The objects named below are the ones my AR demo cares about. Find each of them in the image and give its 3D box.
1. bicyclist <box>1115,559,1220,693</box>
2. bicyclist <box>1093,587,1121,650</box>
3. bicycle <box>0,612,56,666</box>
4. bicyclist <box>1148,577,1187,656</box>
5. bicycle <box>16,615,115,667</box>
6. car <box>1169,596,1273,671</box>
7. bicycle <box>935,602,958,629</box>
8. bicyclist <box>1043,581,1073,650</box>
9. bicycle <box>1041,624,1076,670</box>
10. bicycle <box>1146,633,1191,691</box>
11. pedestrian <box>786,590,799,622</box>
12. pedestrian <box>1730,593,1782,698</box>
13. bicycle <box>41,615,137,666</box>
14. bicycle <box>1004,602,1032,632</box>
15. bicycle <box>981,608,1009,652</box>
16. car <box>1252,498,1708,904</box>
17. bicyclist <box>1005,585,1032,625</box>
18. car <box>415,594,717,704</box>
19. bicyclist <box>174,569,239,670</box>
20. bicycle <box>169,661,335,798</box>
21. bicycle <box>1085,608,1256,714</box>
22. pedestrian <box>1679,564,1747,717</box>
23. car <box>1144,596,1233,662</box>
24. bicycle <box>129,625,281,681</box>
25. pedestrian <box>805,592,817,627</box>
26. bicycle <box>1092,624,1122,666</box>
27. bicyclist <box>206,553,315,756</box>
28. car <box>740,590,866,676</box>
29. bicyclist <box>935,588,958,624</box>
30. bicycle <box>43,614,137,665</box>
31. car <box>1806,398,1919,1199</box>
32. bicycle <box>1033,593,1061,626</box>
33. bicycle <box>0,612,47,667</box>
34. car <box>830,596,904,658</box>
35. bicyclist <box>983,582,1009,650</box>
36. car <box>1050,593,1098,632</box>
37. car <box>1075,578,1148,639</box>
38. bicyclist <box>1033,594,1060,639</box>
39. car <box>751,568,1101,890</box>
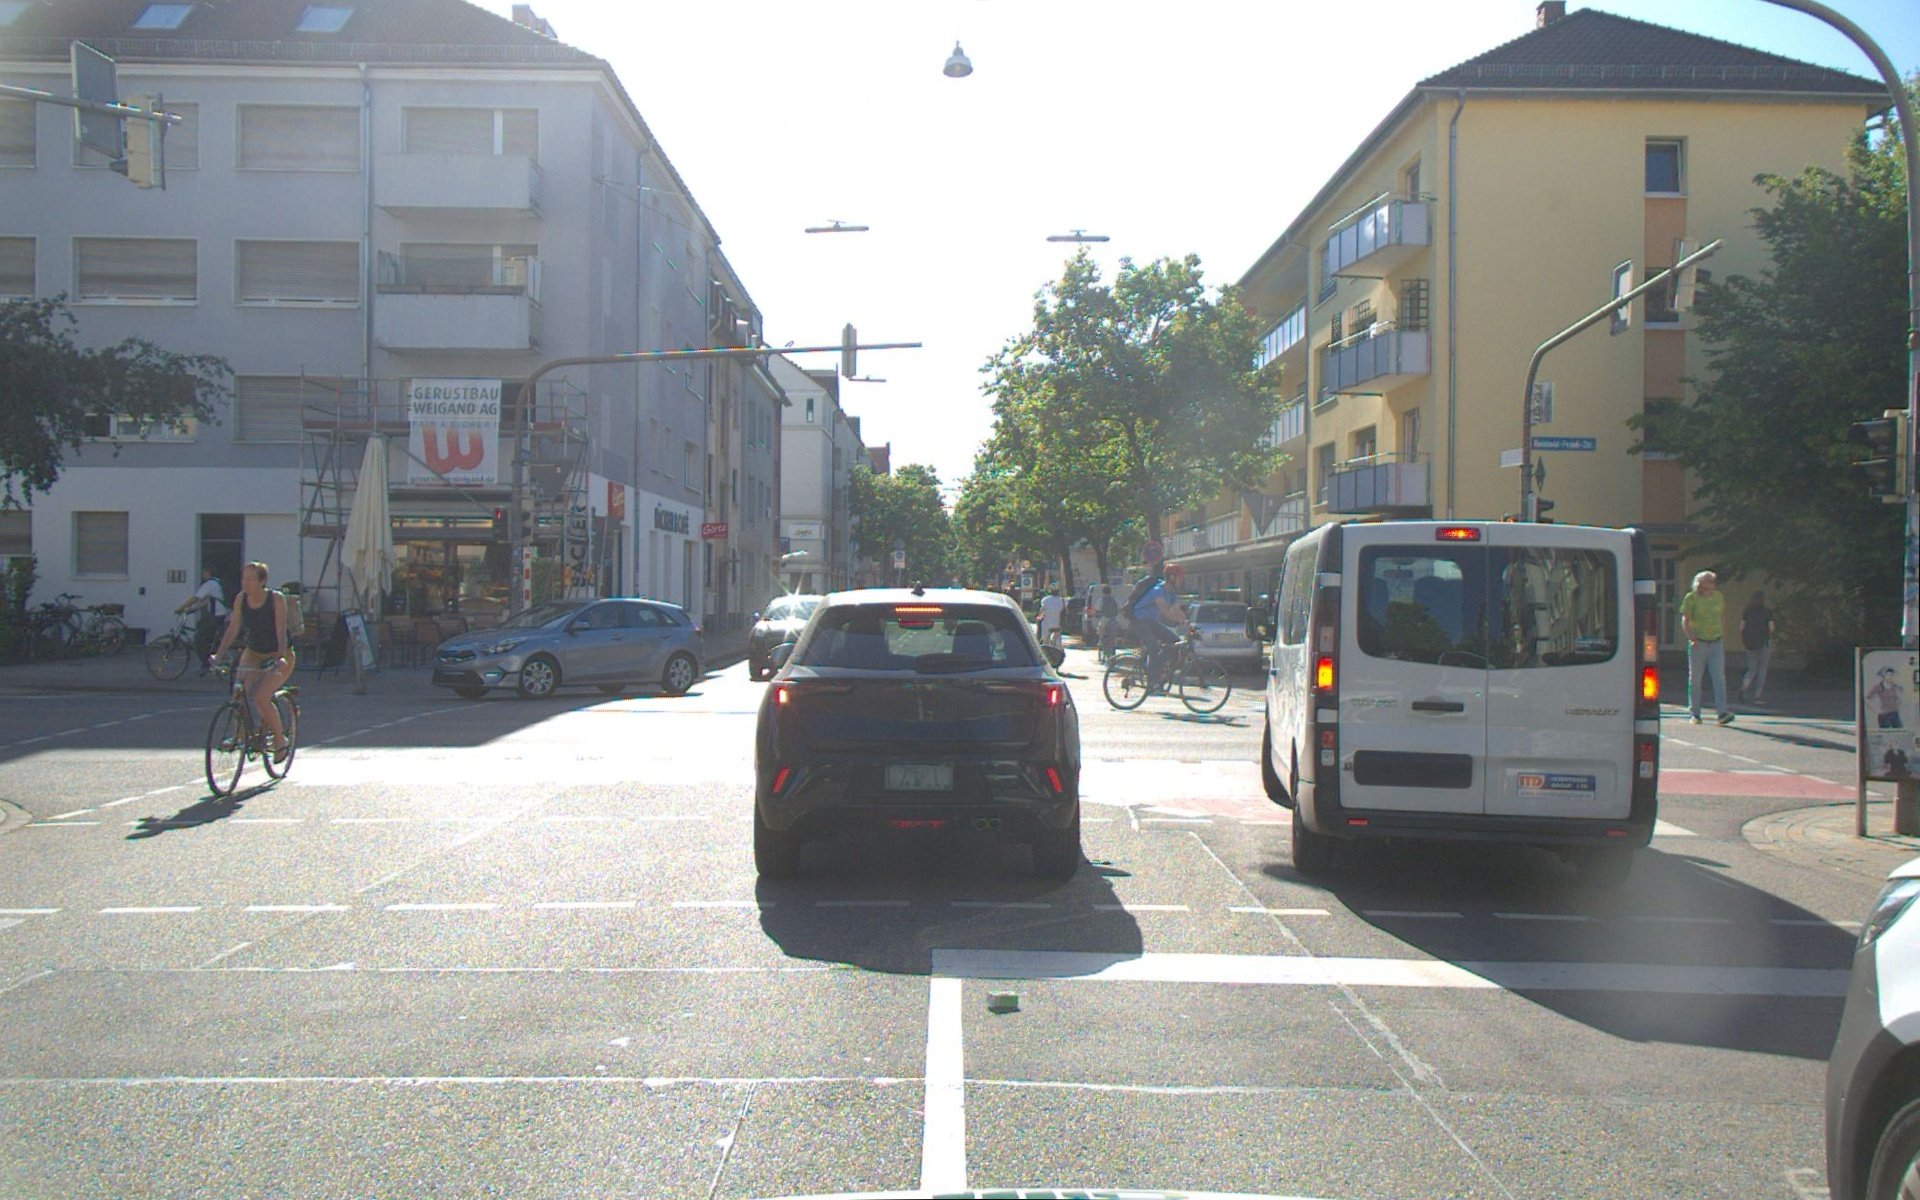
[{"bbox_3d":[2.682,0.325,21.368,1.104,1.678,0.800,0,0,39],"label":"bicyclist"},{"bbox_3d":[3.303,0.407,37.202,0.535,1.406,0.823,0,0,0],"label":"bicyclist"},{"bbox_3d":[-17.138,0.700,29.686,1.556,0.956,0.512,0,0,1],"label":"bicycle"},{"bbox_3d":[3.444,0.265,27.477,0.535,1.284,0.803,0,0,0],"label":"bicyclist"},{"bbox_3d":[-16.480,0.752,30.497,1.556,0.956,0.512,0,0,1],"label":"bicycle"},{"bbox_3d":[5.550,0.689,35.528,1.677,1.509,3.480,0,0,0],"label":"car"},{"bbox_3d":[-0.529,0.579,63.359,0.839,0.961,2.307,3,0,-1],"label":"bicycle"},{"bbox_3d":[2.018,0.316,34.044,0.576,1.406,0.823,0,0,0],"label":"bicyclist"},{"bbox_3d":[2.013,0.957,33.976,0.607,0.881,1.876,0,0,1],"label":"bicycle"},{"bbox_3d":[3.443,1.009,27.405,0.535,0.881,1.876,0,0,1],"label":"bicycle"},{"bbox_3d":[-7.851,0.256,77.557,0.566,1.493,0.702,0,0,-6],"label":"pedestrian"},{"bbox_3d":[12.266,0.690,25.491,0.528,1.598,0.539,0,0,-1],"label":"pedestrian"},{"bbox_3d":[-16.479,0.762,31.303,1.556,0.956,0.512,0,0,1],"label":"bicycle"},{"bbox_3d":[2.031,0.583,58.160,0.839,0.961,2.307,3,0,-1],"label":"bicycle"},{"bbox_3d":[0.876,0.750,41.798,0.619,1.059,1.795,0,0,-1],"label":"bicycle"},{"bbox_3d":[3.053,0.508,10.850,1.926,1.974,5.059,2,0,7],"label":"car"},{"bbox_3d":[2.053,0.163,58.205,0.839,1.337,1.210,2,0,-1],"label":"bicyclist"},{"bbox_3d":[-5.703,0.647,24.368,1.807,1.459,4.159,0,0,37],"label":"car"},{"bbox_3d":[-11.913,0.307,26.165,0.797,1.576,0.553,1,0,-11],"label":"bicyclist"},{"bbox_3d":[-5.511,0.978,12.975,0.531,0.918,1.826,0,0,-1],"label":"bicycle"},{"bbox_3d":[2.700,0.754,21.358,2.098,1.277,0.800,0,0,40],"label":"bicycle"},{"bbox_3d":[8.936,0.470,19.646,0.515,1.792,0.623,0,0,-2],"label":"pedestrian"},{"bbox_3d":[5.487,0.662,40.002,1.677,1.509,3.381,0,0,0],"label":"car"},{"bbox_3d":[-11.918,0.840,26.161,2.086,0.848,0.553,1,0,-12],"label":"bicycle"},{"bbox_3d":[-6.965,0.453,77.347,0.566,1.610,0.707,0,0,-6],"label":"pedestrian"},{"bbox_3d":[3.295,0.996,37.138,0.535,0.881,1.876,0,0,1],"label":"bicycle"},{"bbox_3d":[-5.510,0.415,13.064,0.531,1.547,0.774,0,0,-1],"label":"bicyclist"},{"bbox_3d":[-3.040,0.631,32.873,1.558,1.593,4.092,-1,0,8],"label":"car"},{"bbox_3d":[-0.519,0.211,63.400,0.839,1.337,1.210,2,0,-1],"label":"bicyclist"},{"bbox_3d":[-16.815,0.760,31.994,1.556,0.956,0.512,0,0,1],"label":"bicycle"},{"bbox_3d":[2.845,0.545,1.147,1.928,1.842,4.831,0,0,-2],"label":"car"},{"bbox_3d":[2.328,0.248,44.561,0.677,0.881,1.876,0,0,1],"label":"bicycle"},{"bbox_3d":[-16.952,0.688,29.059,1.556,0.956,0.512,0,0,1],"label":"bicycle"},{"bbox_3d":[-2.381,0.647,42.316,1.769,1.437,4.423,-1,0,-3],"label":"car"},{"bbox_3d":[0.900,0.401,41.676,0.619,1.698,1.050,0,0,-1],"label":"bicyclist"},{"bbox_3d":[4.552,0.486,66.454,1.677,1.509,3.381,0,0,0],"label":"car"},{"bbox_3d":[4.917,0.250,54.090,2.004,1.879,4.584,0,0,1],"label":"car"},{"bbox_3d":[2.329,0.441,44.554,0.677,1.214,0.595,0,0,0],"label":"bicyclist"},{"bbox_3d":[-0.195,0.640,10.197,1.726,1.586,3.999,0,0,-1],"label":"car"}]
